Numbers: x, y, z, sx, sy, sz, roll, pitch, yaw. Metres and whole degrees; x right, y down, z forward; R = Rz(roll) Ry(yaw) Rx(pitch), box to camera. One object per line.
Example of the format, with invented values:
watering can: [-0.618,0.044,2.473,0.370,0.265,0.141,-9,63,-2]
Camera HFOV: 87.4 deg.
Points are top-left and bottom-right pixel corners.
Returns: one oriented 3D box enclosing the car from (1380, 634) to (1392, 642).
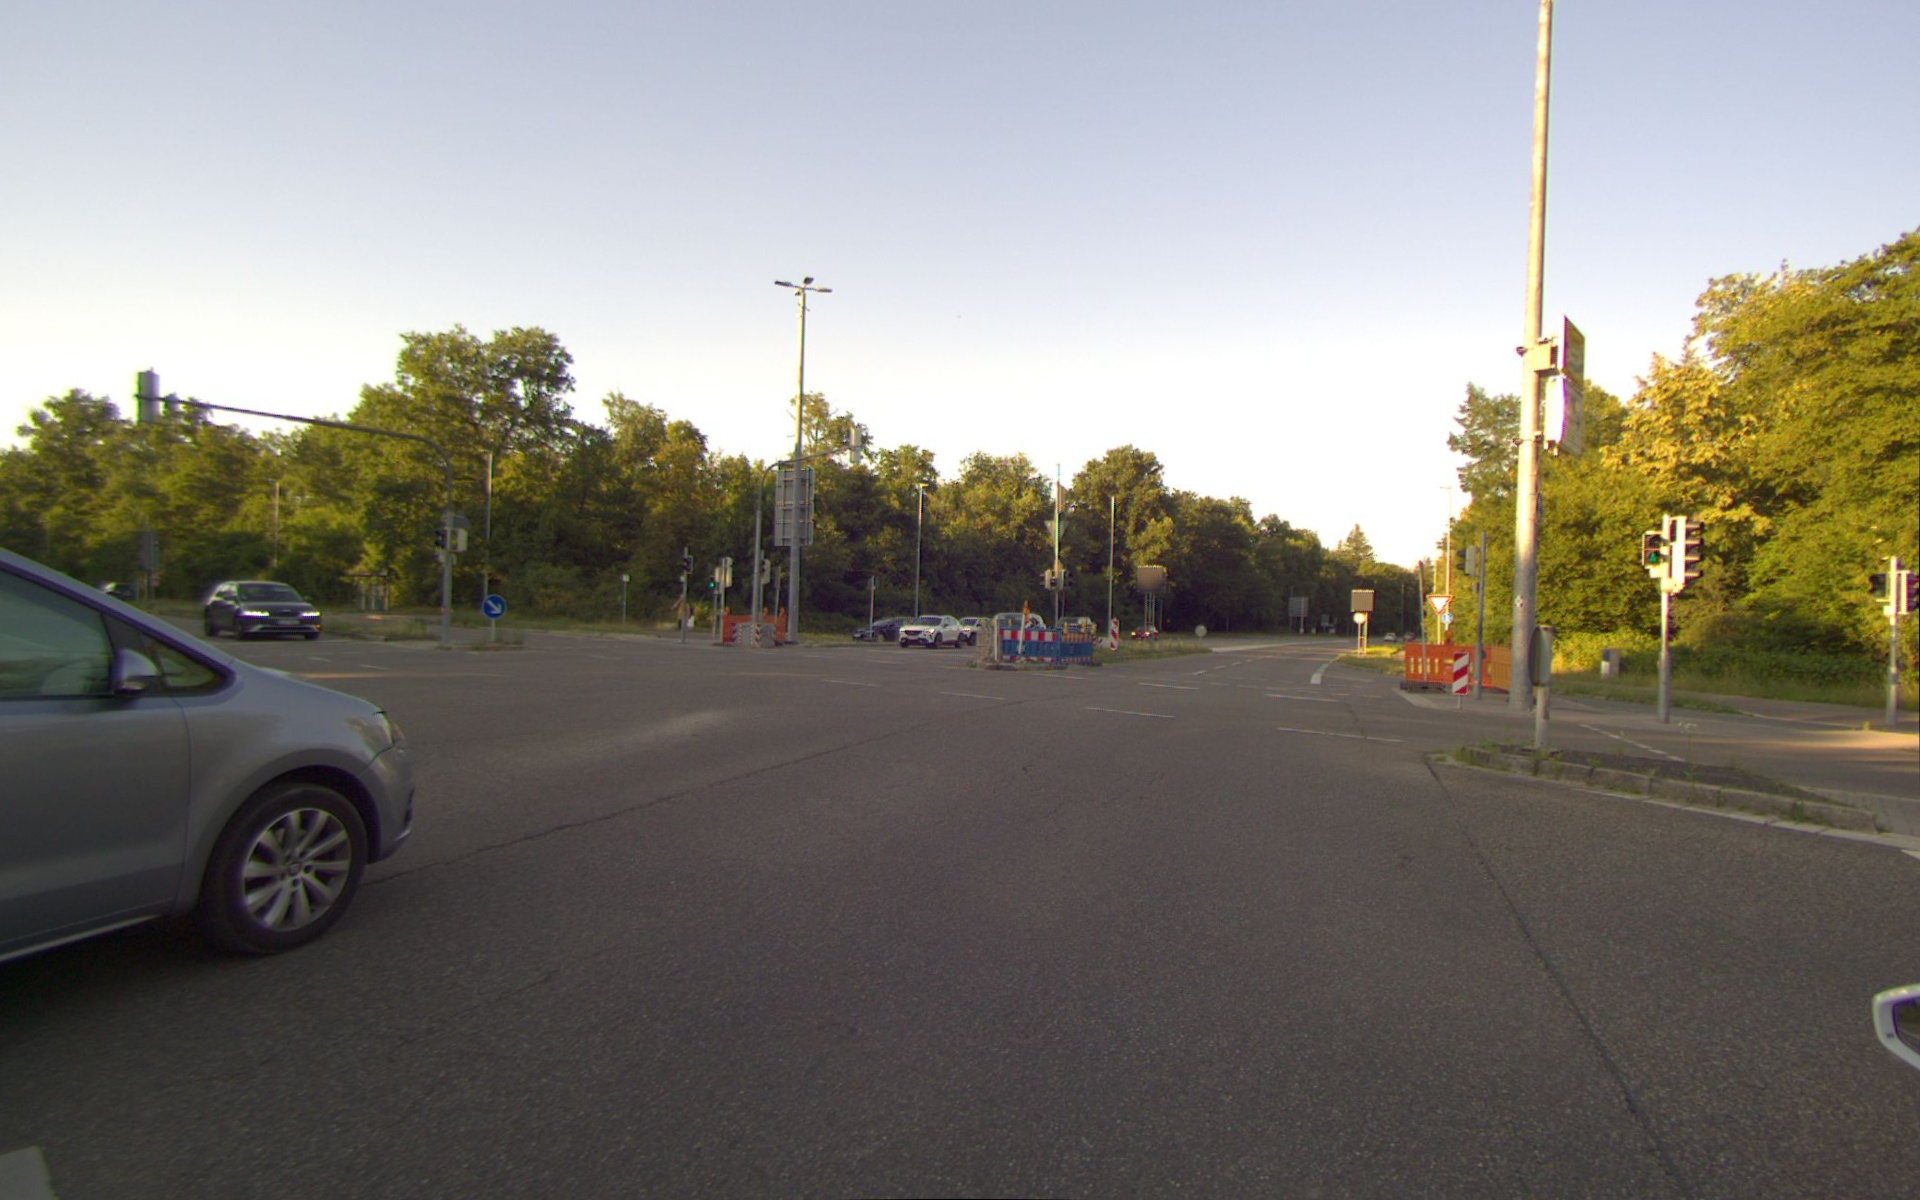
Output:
car: [72.927,6.470,171.911,1.524,1.365,3.109,1,-1,29]

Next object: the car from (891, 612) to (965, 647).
car: [-1.373,1.331,45.506,1.689,1.475,4.231,1,-1,23]

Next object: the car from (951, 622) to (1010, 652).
car: [1.162,1.938,53.686,1.689,1.475,4.231,1,-1,23]

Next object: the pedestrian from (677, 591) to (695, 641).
pedestrian: [-10.229,0.586,37.479,0.566,1.824,0.747,2,0,-18]

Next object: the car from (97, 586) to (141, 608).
car: [-58.755,-0.227,70.138,3.985,1.345,1.657,3,0,40]

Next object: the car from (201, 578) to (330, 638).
car: [-19.560,0.209,28.256,3.939,1.540,1.994,2,-1,40]

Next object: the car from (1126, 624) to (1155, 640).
car: [17.105,2.981,95.036,1.847,1.440,4.232,1,-1,23]

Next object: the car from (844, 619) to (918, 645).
car: [-4.043,1.650,51.848,3.624,1.260,1.586,2,-1,-45]

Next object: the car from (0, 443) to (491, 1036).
car: [-3.814,0.390,2.834,1.835,1.747,4.661,1,-1,17]

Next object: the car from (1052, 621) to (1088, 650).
car: [8.143,2.572,74.015,1.846,2.051,4.235,2,-1,16]

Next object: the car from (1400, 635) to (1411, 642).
car: [84.658,7.225,190.714,1.436,1.260,2.956,2,-1,33]

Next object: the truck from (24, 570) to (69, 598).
truck: [-73.292,-1.304,80.599,3.937,2.149,1.992,2,-1,38]
